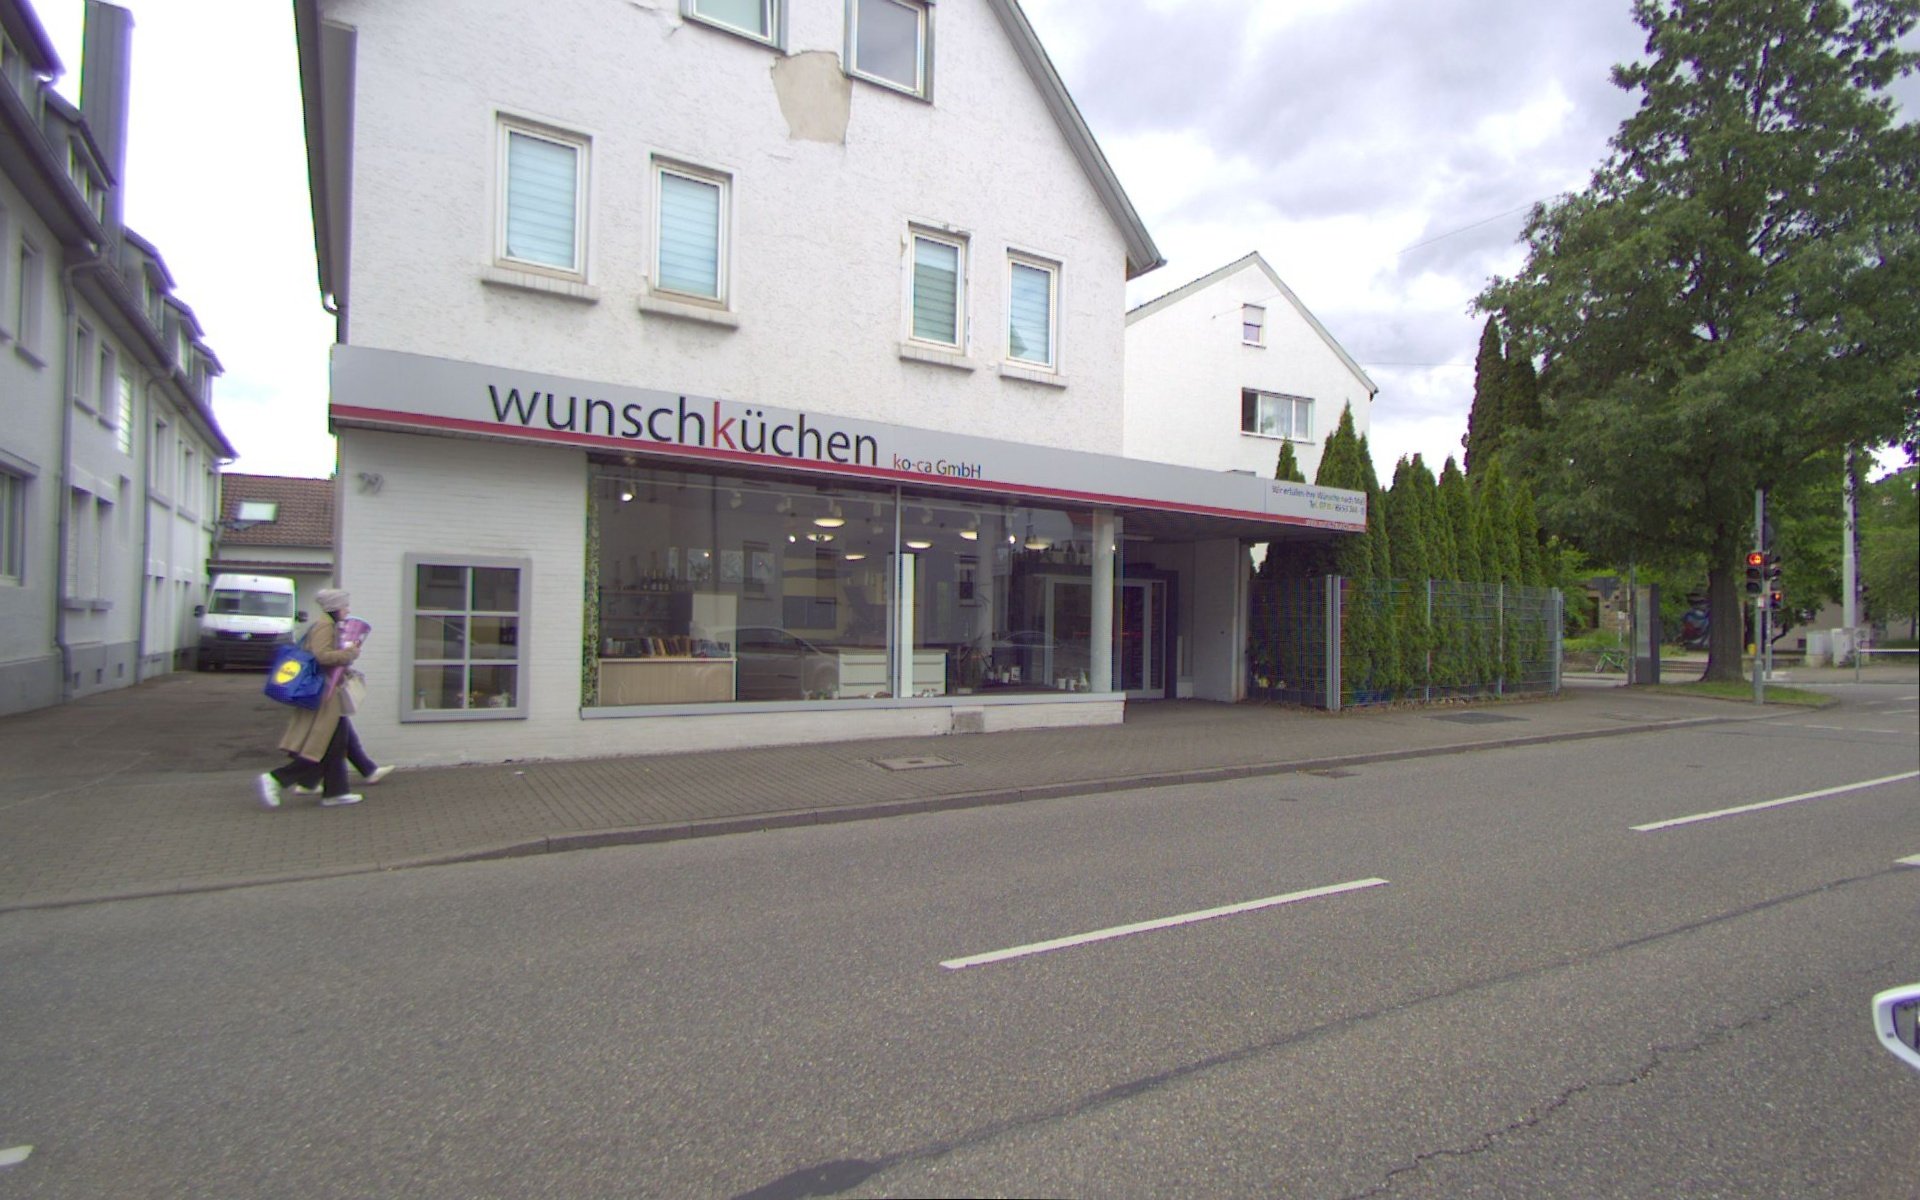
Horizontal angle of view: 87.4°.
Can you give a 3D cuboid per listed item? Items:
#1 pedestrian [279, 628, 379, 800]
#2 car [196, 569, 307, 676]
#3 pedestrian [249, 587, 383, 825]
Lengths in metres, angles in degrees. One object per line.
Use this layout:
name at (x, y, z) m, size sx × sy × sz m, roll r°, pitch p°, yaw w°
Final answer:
pedestrian at (-5.109, 0.893, 8.169) m, size 0.647 × 1.297 × 0.596 m, roll 1°, pitch 1°, yaw -31°
car at (-19.062, 0.570, 27.258) m, size 1.938 × 2.541 × 5.943 m, roll 4°, pitch -2°, yaw -32°
pedestrian at (-4.783, 0.745, 7.509) m, size 0.784 × 1.638 × 0.747 m, roll 1°, pitch 2°, yaw -31°
